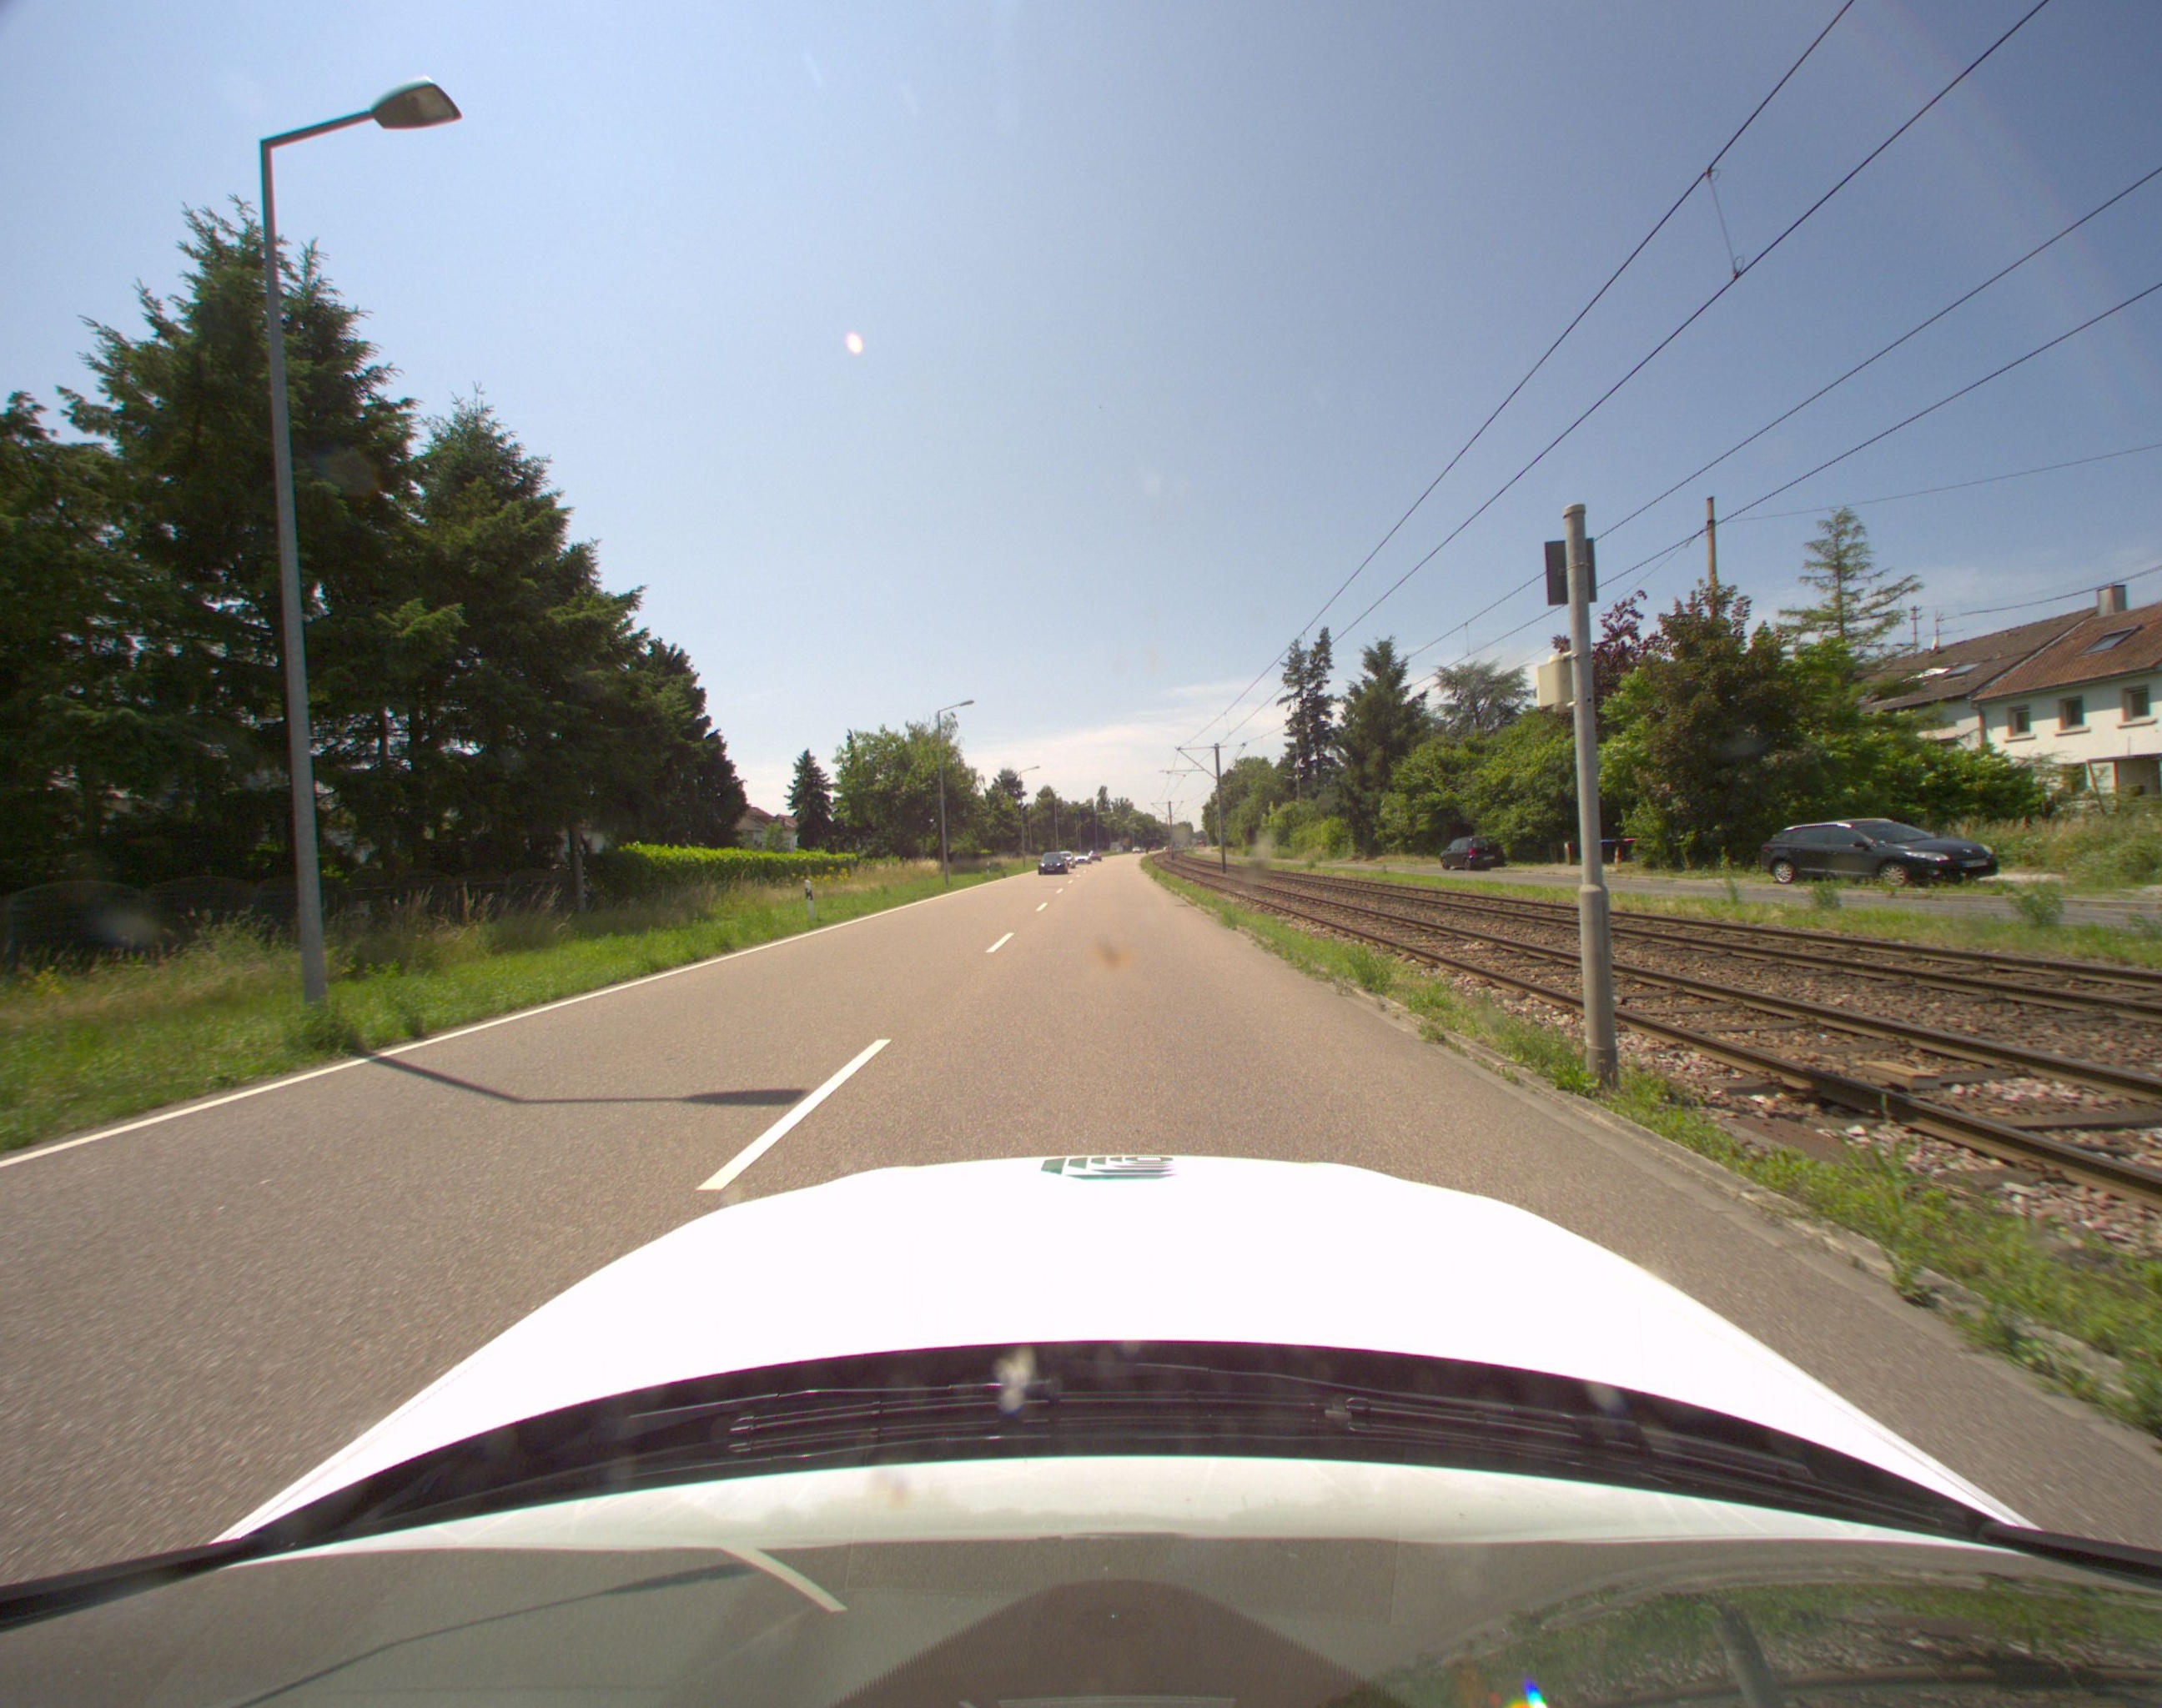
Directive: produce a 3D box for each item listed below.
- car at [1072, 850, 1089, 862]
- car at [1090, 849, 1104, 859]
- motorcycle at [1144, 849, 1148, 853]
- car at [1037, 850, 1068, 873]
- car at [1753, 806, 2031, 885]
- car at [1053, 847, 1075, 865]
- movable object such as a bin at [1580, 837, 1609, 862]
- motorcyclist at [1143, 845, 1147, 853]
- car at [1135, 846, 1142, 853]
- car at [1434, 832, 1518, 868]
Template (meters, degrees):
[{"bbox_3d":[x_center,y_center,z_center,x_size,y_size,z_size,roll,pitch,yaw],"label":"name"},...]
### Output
[{"bbox_3d":[-0.023,0.243,92.617,1.675,1.249,3.912,-2,0,3],"label":"car"},{"bbox_3d":[2.155,0.004,111.293,1.742,1.301,4.256,-2,0,3],"label":"car"},{"bbox_3d":[16.320,-0.778,205.236,0.965,1.117,2.738,-2,0,7],"label":"motorcycle"},{"bbox_3d":[-1.882,0.480,55.318,1.694,1.491,4.443,-2,0,2],"label":"car"},{"bbox_3d":[18.564,-0.172,19.038,1.929,1.561,4.555,-2,0,0],"label":"car"},{"bbox_3d":[-1.475,0.191,72.386,1.740,1.503,3.709,-2,0,2],"label":"car"},{"bbox_3d":[20.070,-0.160,31.821,0.721,0.937,0.621,-2,0,2],"label":"movable object such as a bin"},{"bbox_3d":[16.243,-1.328,205.331,0.887,1.905,1.017,-2,0,6],"label":"motorcyclist"},{"bbox_3d":[15.857,-1.230,224.759,1.926,1.796,4.719,-2,0,5],"label":"car"},{"bbox_3d":[17.641,-0.187,36.580,1.906,1.470,4.002,-2,0,2],"label":"car"}]
